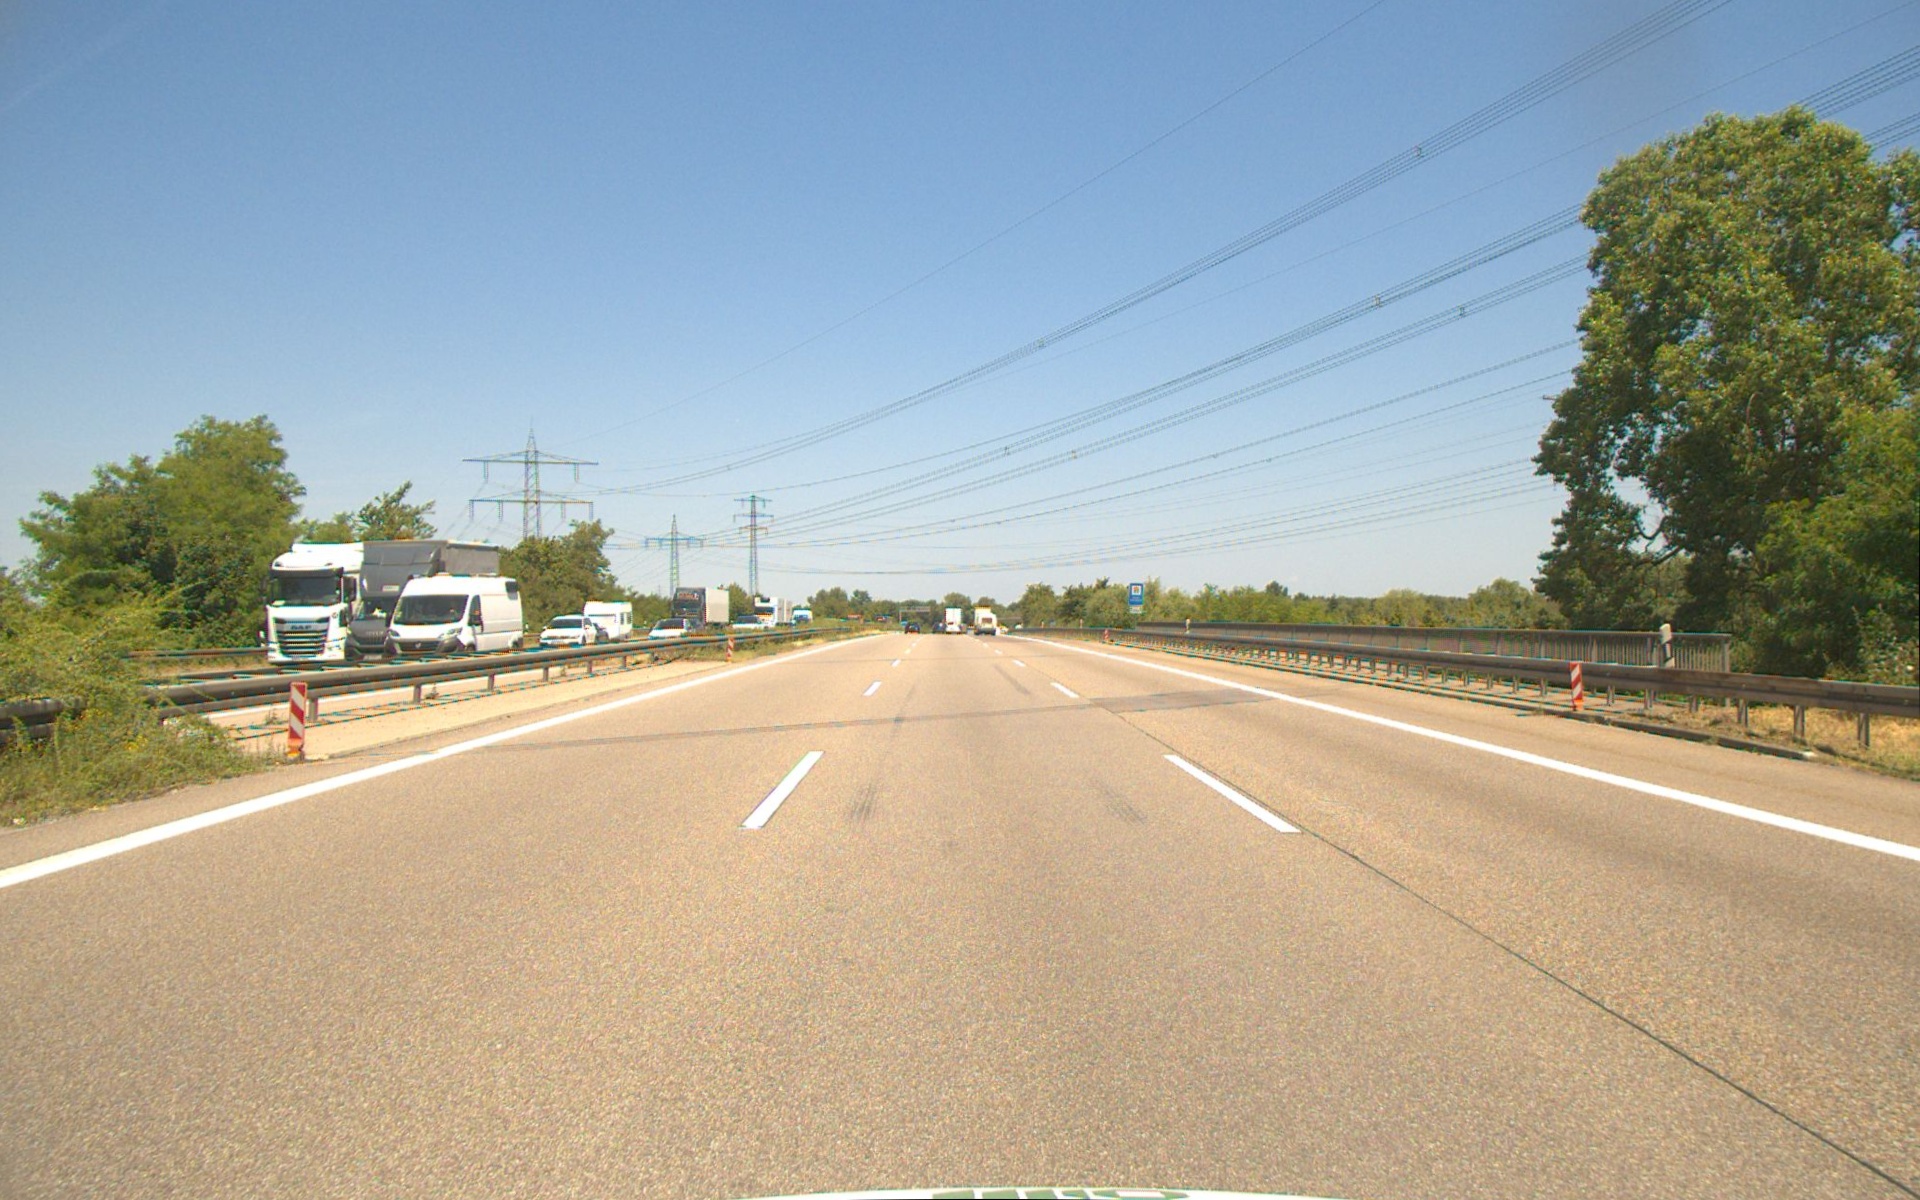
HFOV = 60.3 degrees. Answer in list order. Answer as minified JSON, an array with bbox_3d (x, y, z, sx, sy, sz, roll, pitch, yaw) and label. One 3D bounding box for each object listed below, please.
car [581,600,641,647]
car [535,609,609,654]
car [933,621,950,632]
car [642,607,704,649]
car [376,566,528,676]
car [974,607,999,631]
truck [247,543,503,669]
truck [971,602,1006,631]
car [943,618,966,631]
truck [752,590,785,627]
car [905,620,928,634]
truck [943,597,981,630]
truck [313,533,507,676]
[{"bbox_3d":[-20.892,1.395,99.185,2.369,2.660,5.715,-2,0,-1],"label":"car"},{"bbox_3d":[-16.816,1.336,71.883,2.032,1.863,5.107,-2,0,-1],"label":"car"},{"bbox_3d":[-2.808,4.013,252.447,1.789,1.574,4.322,1,-1,9],"label":"car"},{"bbox_3d":[-13.457,1.295,77.752,2.032,1.823,5.107,-2,0,-1],"label":"car"},{"bbox_3d":[-12.988,0.512,42.735,2.125,2.630,6.037,-1,0,-1],"label":"car"},{"bbox_3d":[2.663,1.869,166.745,2.392,2.362,5.320,-1,0,-1],"label":"car"},{"bbox_3d":[-20.589,0.241,60.069,3.178,3.869,17.011,1,0,0],"label":"truck"},{"bbox_3d":[4.615,2.610,265.838,3.113,4.380,16.030,1,0,10],"label":"truck"},{"bbox_3d":[-0.689,3.104,209.079,1.789,1.574,4.322,1,-1,14],"label":"car"},{"bbox_3d":[-21.429,0.928,185.598,2.637,4.019,10.590,1,0,-1],"label":"truck"},{"bbox_3d":[-4.969,3.112,188.309,1.789,1.574,4.322,1,-1,9],"label":"car"},{"bbox_3d":[0.445,2.185,267.286,3.588,5.106,16.030,1,0,9],"label":"truck"},{"bbox_3d":[-16.813,0.154,51.433,2.798,3.987,9.494,1,0,0],"label":"truck"}]
